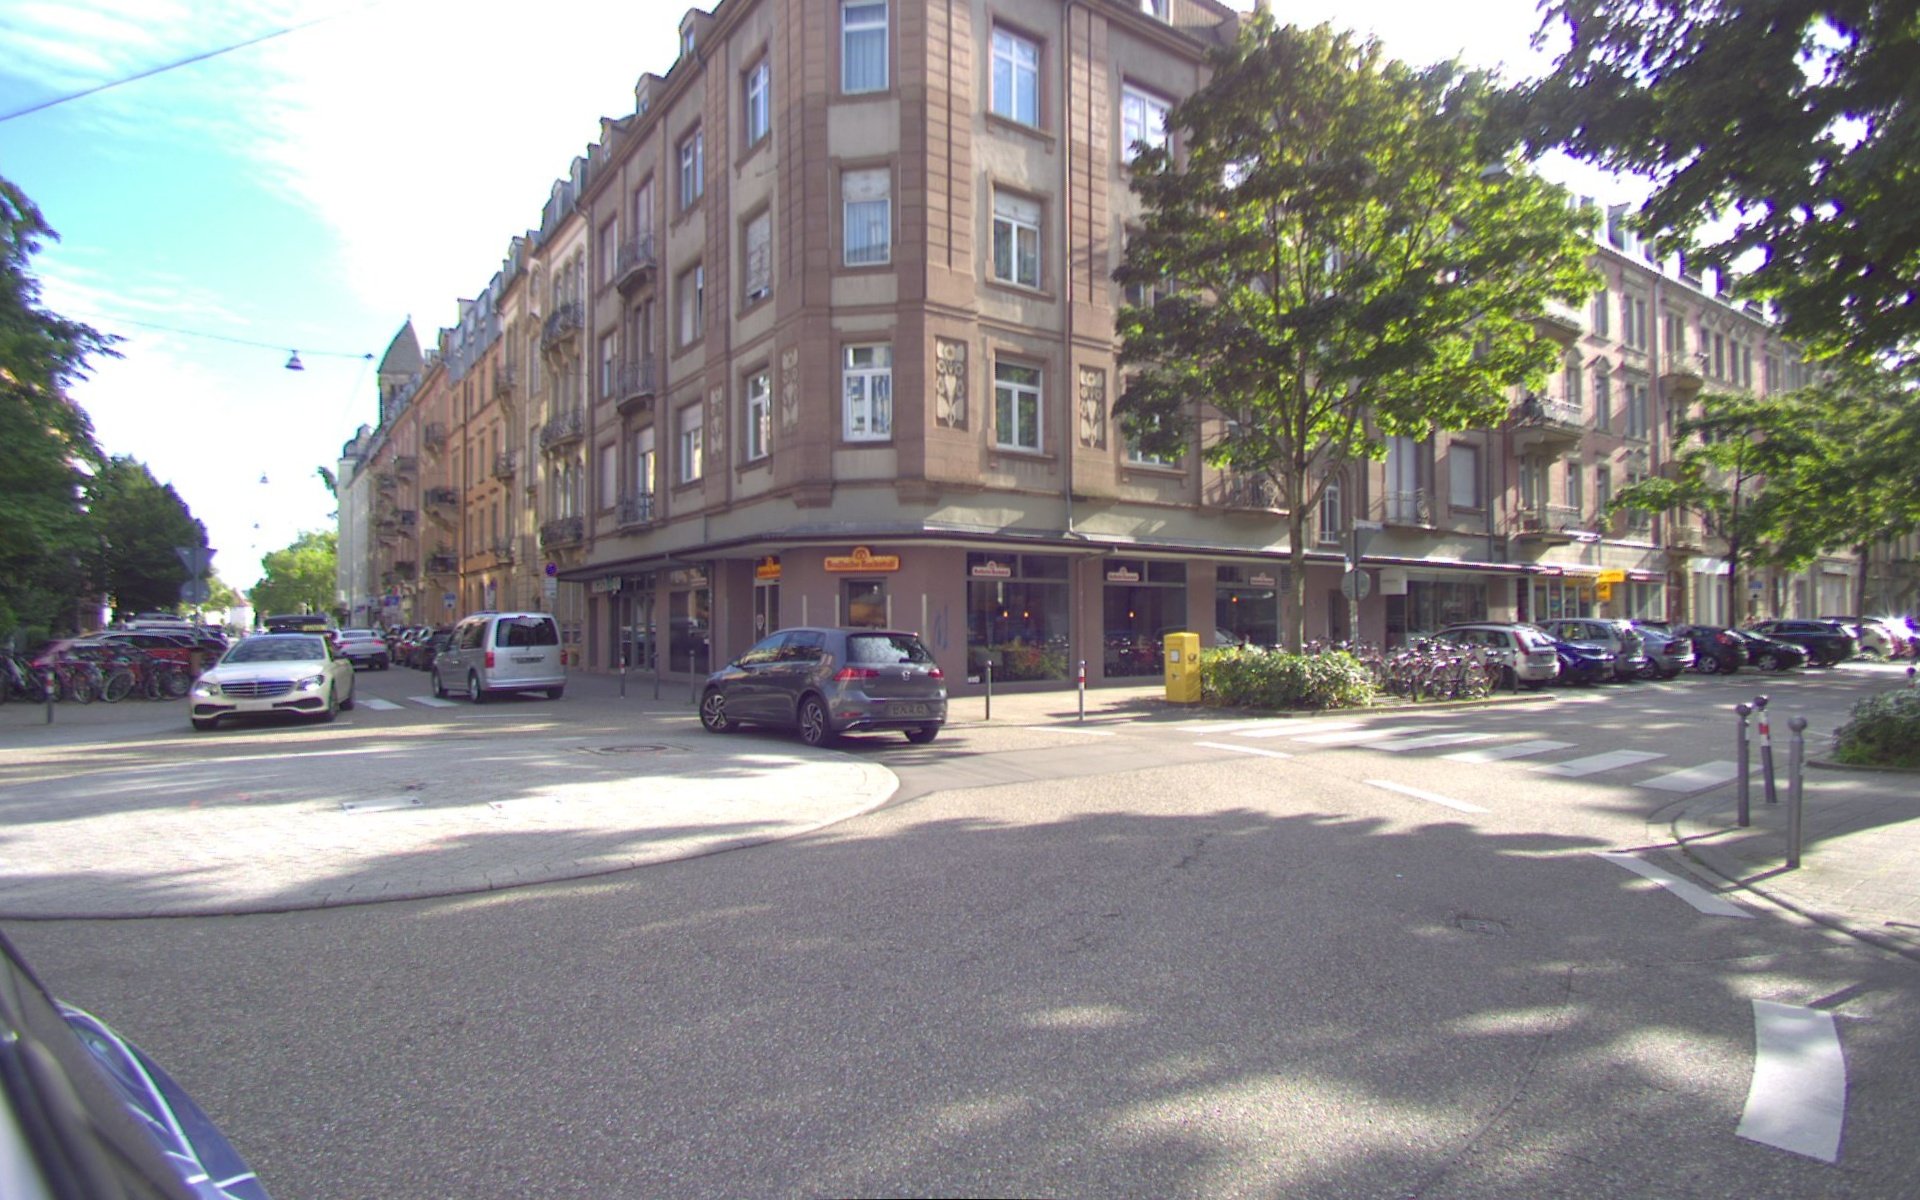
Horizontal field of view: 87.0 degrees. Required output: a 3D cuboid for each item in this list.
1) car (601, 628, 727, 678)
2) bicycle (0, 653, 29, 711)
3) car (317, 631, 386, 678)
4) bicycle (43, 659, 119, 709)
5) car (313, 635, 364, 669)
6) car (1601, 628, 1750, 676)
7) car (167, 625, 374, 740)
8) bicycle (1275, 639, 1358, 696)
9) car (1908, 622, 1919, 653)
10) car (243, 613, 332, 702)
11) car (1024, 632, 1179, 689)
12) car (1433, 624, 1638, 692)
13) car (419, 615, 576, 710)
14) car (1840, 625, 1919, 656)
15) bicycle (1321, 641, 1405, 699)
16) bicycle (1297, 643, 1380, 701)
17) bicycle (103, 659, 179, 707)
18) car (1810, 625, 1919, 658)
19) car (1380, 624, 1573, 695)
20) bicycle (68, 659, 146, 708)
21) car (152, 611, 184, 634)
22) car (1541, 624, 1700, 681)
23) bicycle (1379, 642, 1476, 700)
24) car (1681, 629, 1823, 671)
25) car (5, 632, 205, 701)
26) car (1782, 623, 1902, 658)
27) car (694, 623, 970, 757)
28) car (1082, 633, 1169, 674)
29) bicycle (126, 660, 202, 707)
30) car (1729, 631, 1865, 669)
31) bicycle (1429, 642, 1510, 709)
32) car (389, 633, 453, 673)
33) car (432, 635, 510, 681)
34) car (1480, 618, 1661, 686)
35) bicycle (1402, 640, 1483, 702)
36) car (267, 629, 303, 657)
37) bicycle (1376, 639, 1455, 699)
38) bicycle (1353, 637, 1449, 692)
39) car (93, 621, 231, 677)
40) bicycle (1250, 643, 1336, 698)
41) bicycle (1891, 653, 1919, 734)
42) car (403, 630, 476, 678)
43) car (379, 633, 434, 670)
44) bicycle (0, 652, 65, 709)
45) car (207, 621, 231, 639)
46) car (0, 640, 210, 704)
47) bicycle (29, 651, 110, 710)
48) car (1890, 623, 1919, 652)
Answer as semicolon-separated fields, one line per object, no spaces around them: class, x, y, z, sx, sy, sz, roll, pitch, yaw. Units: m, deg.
car;-10.784;1.910;37.034;3.941;1.633;2.001;0;-2;-45
bicycle;-19.288;1.625;20.340;1.671;1.109;0.429;-1;-4;35
car;-23.463;2.068;38.955;1.967;1.647;4.855;0;-2;-35
bicycle;-18.589;1.764;21.398;1.827;0.993;0.414;0;-3;24
car;-29.114;2.431;47.371;1.741;1.392;4.462;-3;-1;-35
car;21.335;1.545;30.278;1.354;1.342;3.347;2;-3;-35
car;-11.570;1.287;17.373;1.911;1.609;4.852;-1;-1;-22
bicycle;7.750;1.441;21.953;2.392;1.143;0.479;1;-2;-39
car;47.810;1.793;48.418;1.383;1.487;3.347;2;-3;-35
car;-17.176;1.430;25.926;1.763;2.079;4.011;1;-2;-33
car;3.878;1.650;28.101;4.002;1.441;1.741;-3;-2;45
car;14.026;1.390;24.895;1.551;1.488;4.084;-1;-2;-35
car;-9.931;1.285;21.556;1.807;1.804;4.335;1;-3;-43
car;40.343;1.756;43.638;1.383;1.326;3.347;2;-3;-35
bicycle;8.438;1.438;21.134;2.392;1.143;0.479;1;-3;-39
bicycle;8.081;1.505;21.525;2.392;1.143;0.479;1;-2;-39
bicycle;-18.152;1.833;22.426;1.853;0.993;0.468;0;-3;24
car;37.795;1.749;42.166;1.383;1.326;3.347;2;-3;-35
car;12.014;1.345;23.753;1.551;1.488;3.708;-1;-2;-35
bicycle;-18.408;1.782;21.831;1.853;0.993;0.468;0;-3;24
car;-64.479;1.806;82.339;1.822;1.747;4.005;-1;-2;-41
car;17.925;1.424;27.601;1.354;1.454;3.347;2;-3;-35
bicycle;9.922;1.477;21.427;2.471;1.110;0.652;0;-3;-35
car;25.488;1.614;32.667;1.354;1.263;3.347;2;-3;-35
car;-21.779;1.691;25.918;1.508;1.628;3.550;-1;-4;31
car;35.229;1.637;40.482;1.383;1.326;3.347;2;-3;-35
car;-1.795;1.086;13.062;1.768;1.449;4.008;2;-4;-37
car;7.161;2.287;43.727;3.572;1.578;1.583;-1;-2;-34
bicycle;-17.959;1.875;22.827;1.853;0.993;0.468;0;-3;24
car;28.658;1.710;34.737;1.354;1.263;3.347;2;-3;-35
bicycle;9.896;1.431;19.604;2.257;1.234;0.479;1;-3;-39
car;-22.386;2.187;41.974;1.734;1.508;4.142;-1;-2;-37
car;-16.323;1.905;33.676;1.696;1.379;3.838;-1;-2;-35
car;15.923;1.334;26.570;1.551;1.608;3.708;-1;-2;-35
bicycle;9.572;1.377;20.031;2.255;1.166;0.479;1;-3;-39
car;-49.381;3.137;74.007;1.913;1.894;4.846;-1;-2;-37
bicycle;9.219;1.370;20.434;2.227;1.143;0.479;1;-3;-39
bicycle;9.554;1.364;21.889;2.472;1.110;0.710;1;-3;-36
car;-36.982;2.225;47.054;1.986;2.441;4.704;-2;-1;21
bicycle;7.392;1.532;22.402;2.392;1.143;0.581;1;-2;-39
bicycle;13.634;1.278;14.179;2.109;1.038;0.592;1;-4;-42
car;-19.507;1.965;37.834;1.832;1.596;4.409;-1;-1;-35
car;-25.680;2.361;46.894;1.734;1.610;4.352;-1;-2;-35
bicycle;-19.062;1.643;20.777;1.668;1.109;0.470;-1;-4;30
car;-82.922;3.407;113.287;1.967;1.903;4.010;-1;-2;-34
car;-20.181;1.694;23.957;1.507;1.391;3.552;-1;-4;29
bicycle;-18.450;1.652;20.963;1.827;1.152;0.471;0;-3;24
car;45.693;1.736;47.090;1.383;1.326;3.347;2;-3;-35
